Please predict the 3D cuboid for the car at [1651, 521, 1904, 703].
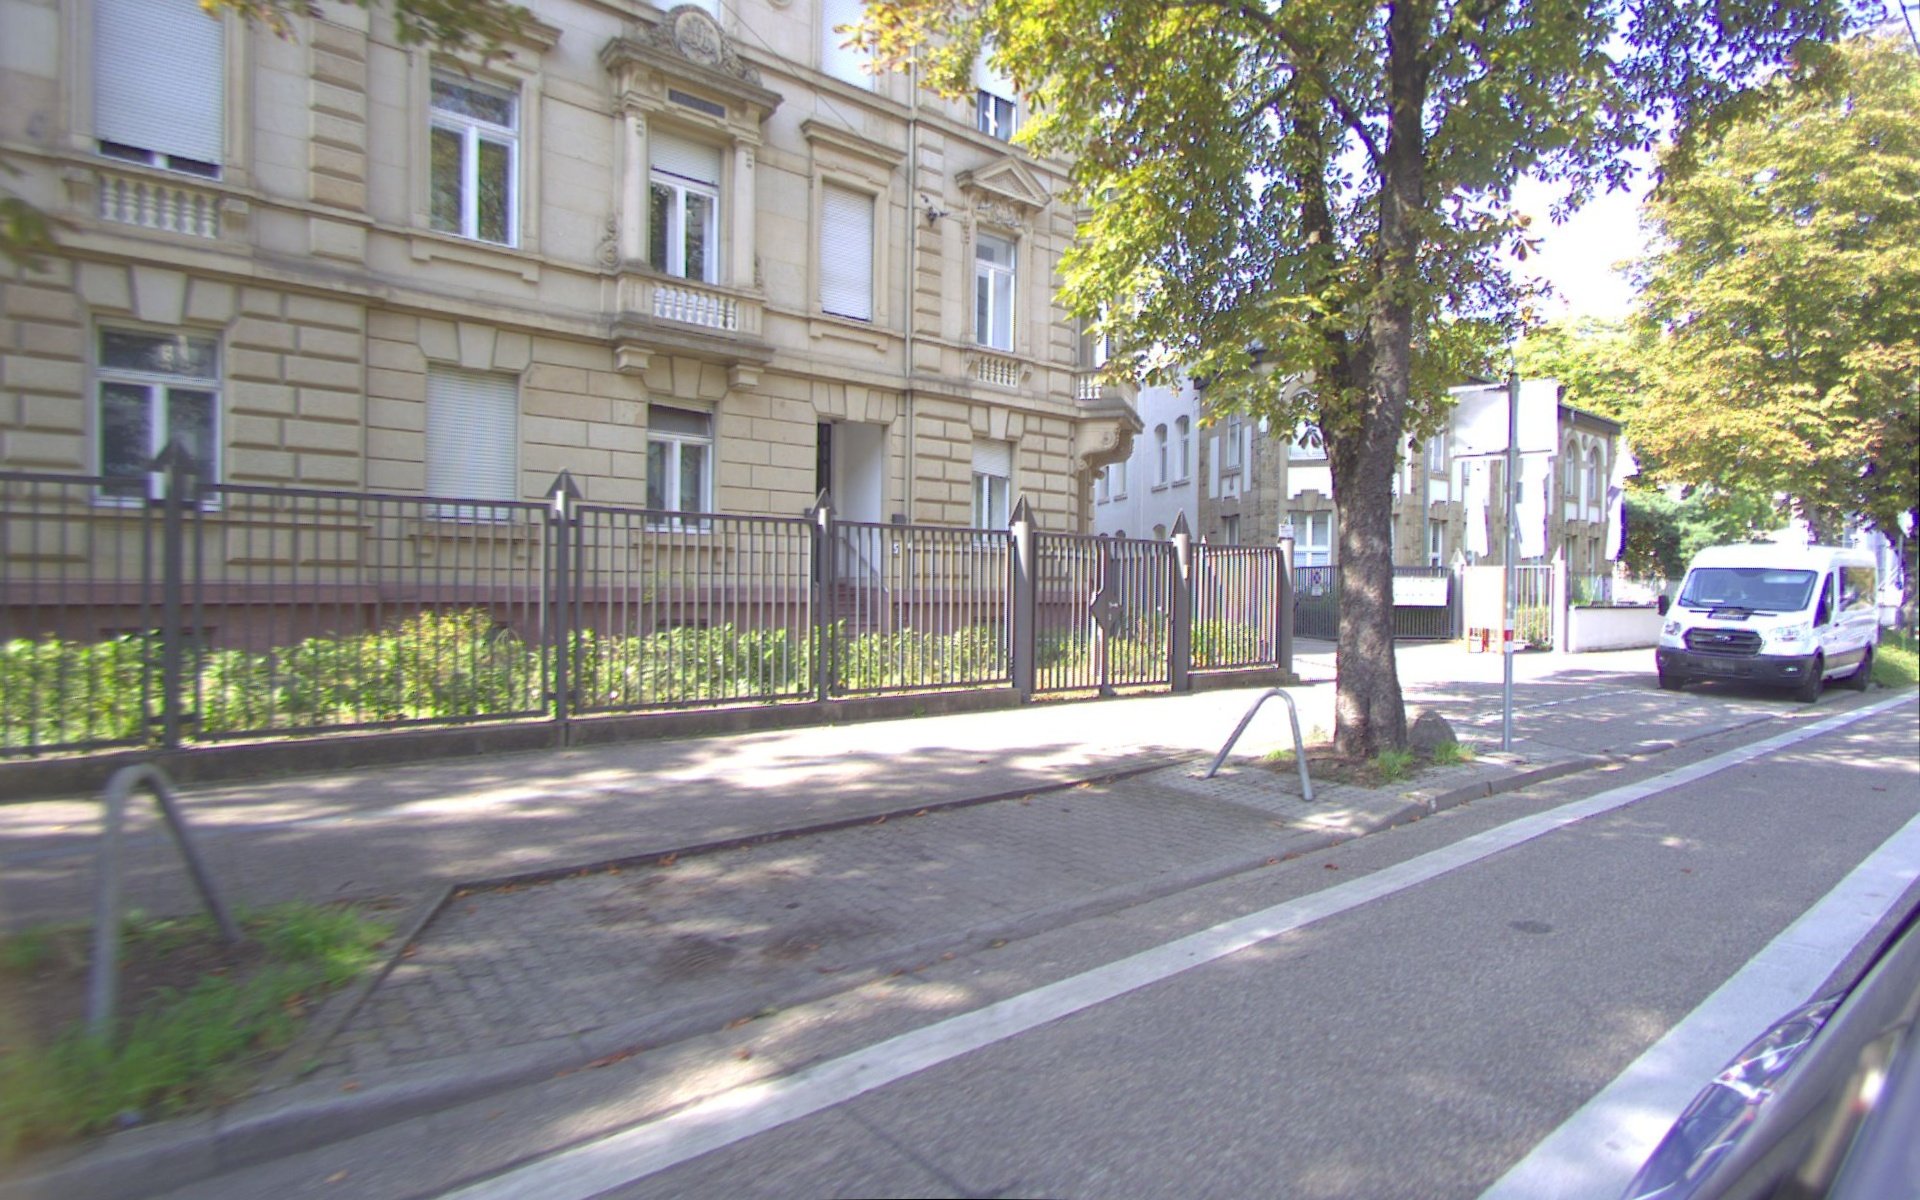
[{"bbox_3d":[13.745,0.105,16.865,5.761,2.572,1.999,0,3,-39],"label":"car"}]
